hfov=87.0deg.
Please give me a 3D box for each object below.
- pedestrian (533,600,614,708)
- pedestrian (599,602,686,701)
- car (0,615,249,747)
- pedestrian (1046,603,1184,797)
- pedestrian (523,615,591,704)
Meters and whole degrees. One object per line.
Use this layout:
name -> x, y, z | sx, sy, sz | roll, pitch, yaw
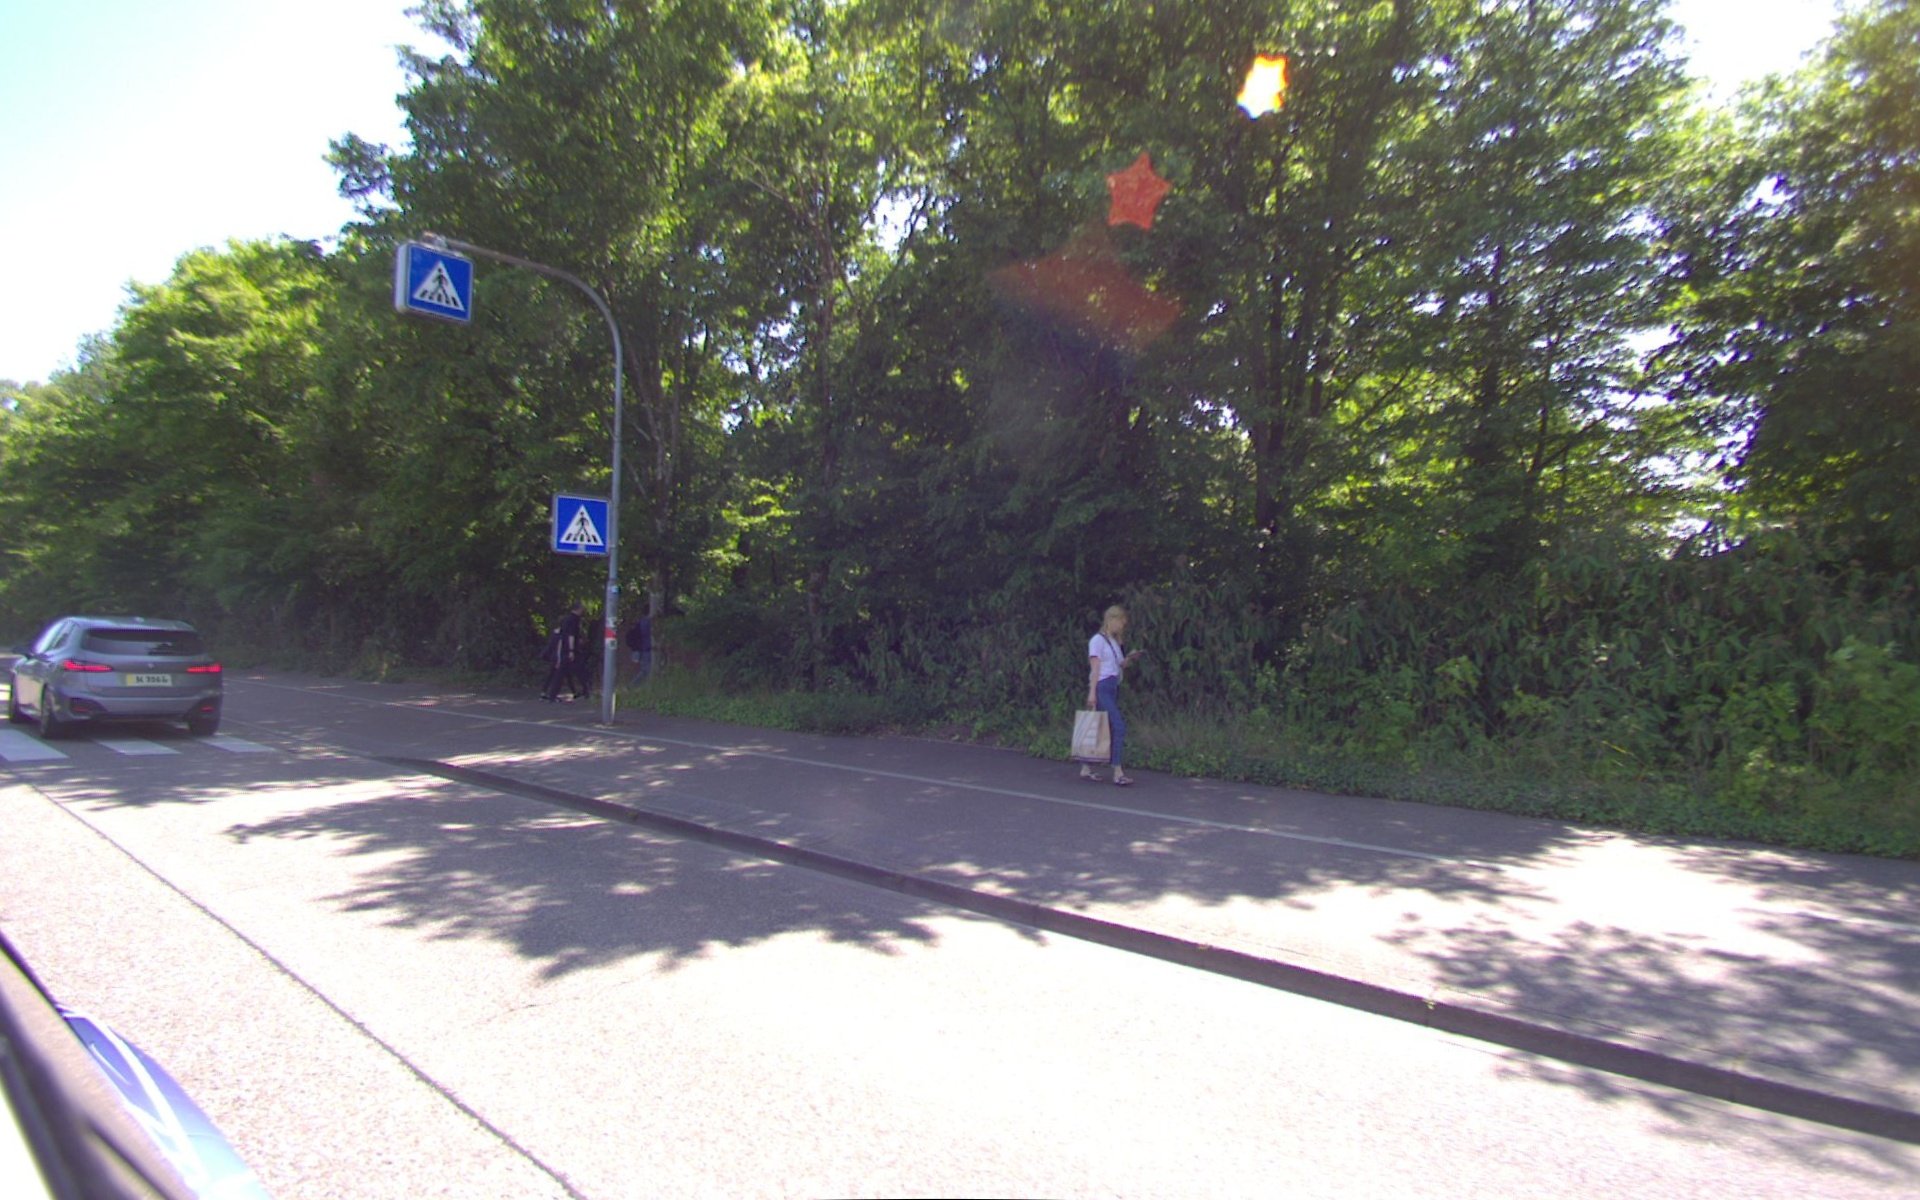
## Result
pedestrian -> -6.955, 0.952, 18.240 | 0.781, 1.879, 1.074 | -1, -2, 33
pedestrian -> -5.922, 0.952, 18.901 | 1.021, 1.765, 1.144 | -3, -3, 37
car -> -11.651, 1.065, 13.965 | 4.193, 1.544, 1.872 | -1, -6, 40
pedestrian -> 1.399, 0.849, 9.122 | 0.885, 1.625, 0.923 | -1, -2, 40
pedestrian -> -7.518, 1.091, 18.894 | 0.778, 1.623, 0.886 | -1, -2, 33
